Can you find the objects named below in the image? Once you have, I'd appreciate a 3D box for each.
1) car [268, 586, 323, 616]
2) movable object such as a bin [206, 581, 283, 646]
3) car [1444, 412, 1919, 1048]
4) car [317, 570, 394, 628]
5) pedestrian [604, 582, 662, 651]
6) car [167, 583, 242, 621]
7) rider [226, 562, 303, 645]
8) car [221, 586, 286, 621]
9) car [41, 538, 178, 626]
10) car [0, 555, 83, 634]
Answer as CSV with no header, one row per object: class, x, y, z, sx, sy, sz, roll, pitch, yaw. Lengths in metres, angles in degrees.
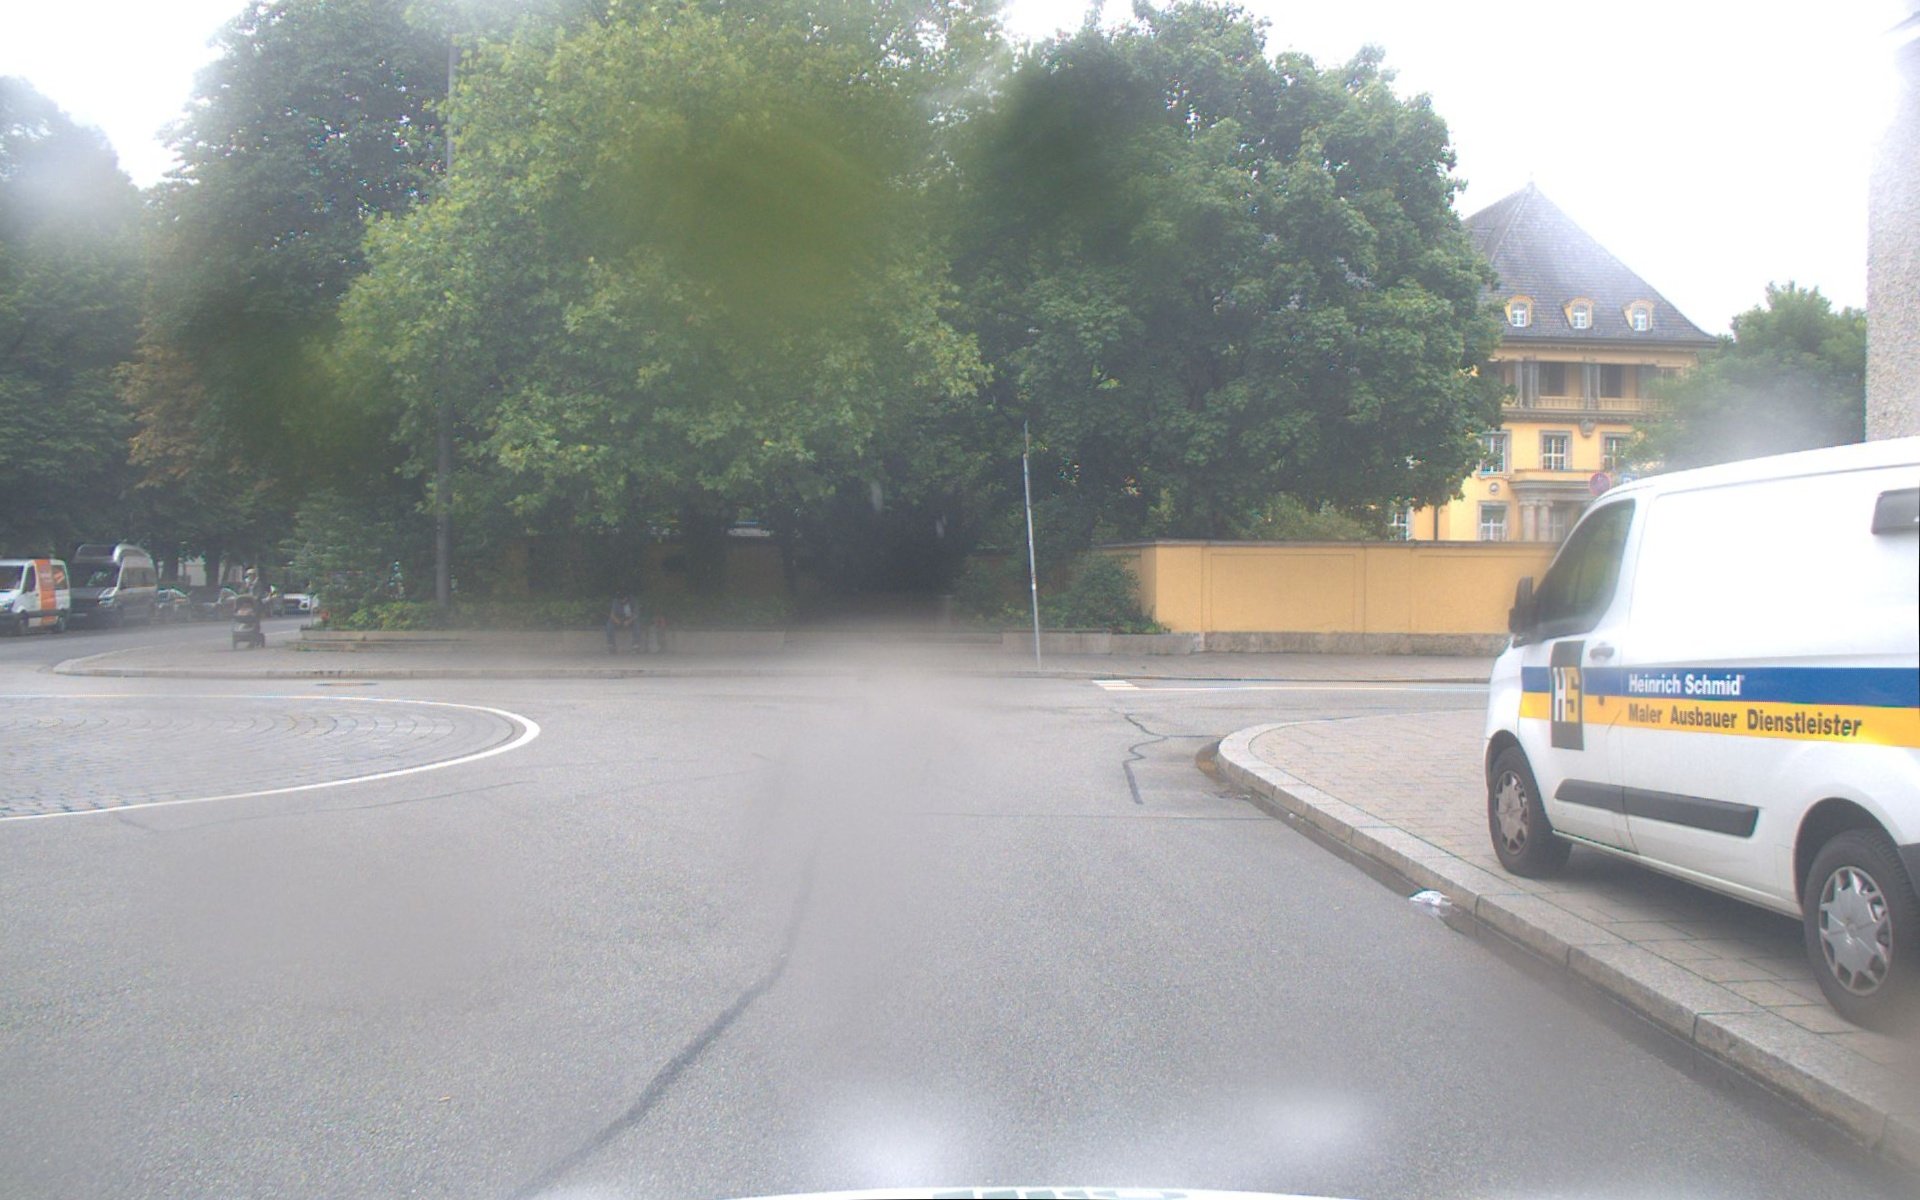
car,-35.850,0.027,89.311,1.860,1.599,4.066,0,0,-9
movable object such as a bin,-14.923,0.279,34.526,1.055,1.289,1.087,-2,0,4
car,3.826,0.375,6.881,1.878,1.996,4.923,-1,1,-4
car,-21.128,-0.063,57.958,2.006,1.956,4.430,0,1,-14
pedestrian,-5.794,0.280,29.336,0.795,1.209,0.920,0,0,3
car,-31.948,0.080,70.031,1.860,1.565,4.066,0,0,-9
rider,-14.865,0.068,35.375,1.059,1.696,1.140,-2,0,4
car,-33.481,0.143,78.449,1.860,1.599,4.066,0,0,-9
car,-30.310,-0.621,59.220,2.291,2.973,6.567,0,0,-8
car,-28.713,-0.175,50.152,2.071,2.290,5.186,0,0,-8
